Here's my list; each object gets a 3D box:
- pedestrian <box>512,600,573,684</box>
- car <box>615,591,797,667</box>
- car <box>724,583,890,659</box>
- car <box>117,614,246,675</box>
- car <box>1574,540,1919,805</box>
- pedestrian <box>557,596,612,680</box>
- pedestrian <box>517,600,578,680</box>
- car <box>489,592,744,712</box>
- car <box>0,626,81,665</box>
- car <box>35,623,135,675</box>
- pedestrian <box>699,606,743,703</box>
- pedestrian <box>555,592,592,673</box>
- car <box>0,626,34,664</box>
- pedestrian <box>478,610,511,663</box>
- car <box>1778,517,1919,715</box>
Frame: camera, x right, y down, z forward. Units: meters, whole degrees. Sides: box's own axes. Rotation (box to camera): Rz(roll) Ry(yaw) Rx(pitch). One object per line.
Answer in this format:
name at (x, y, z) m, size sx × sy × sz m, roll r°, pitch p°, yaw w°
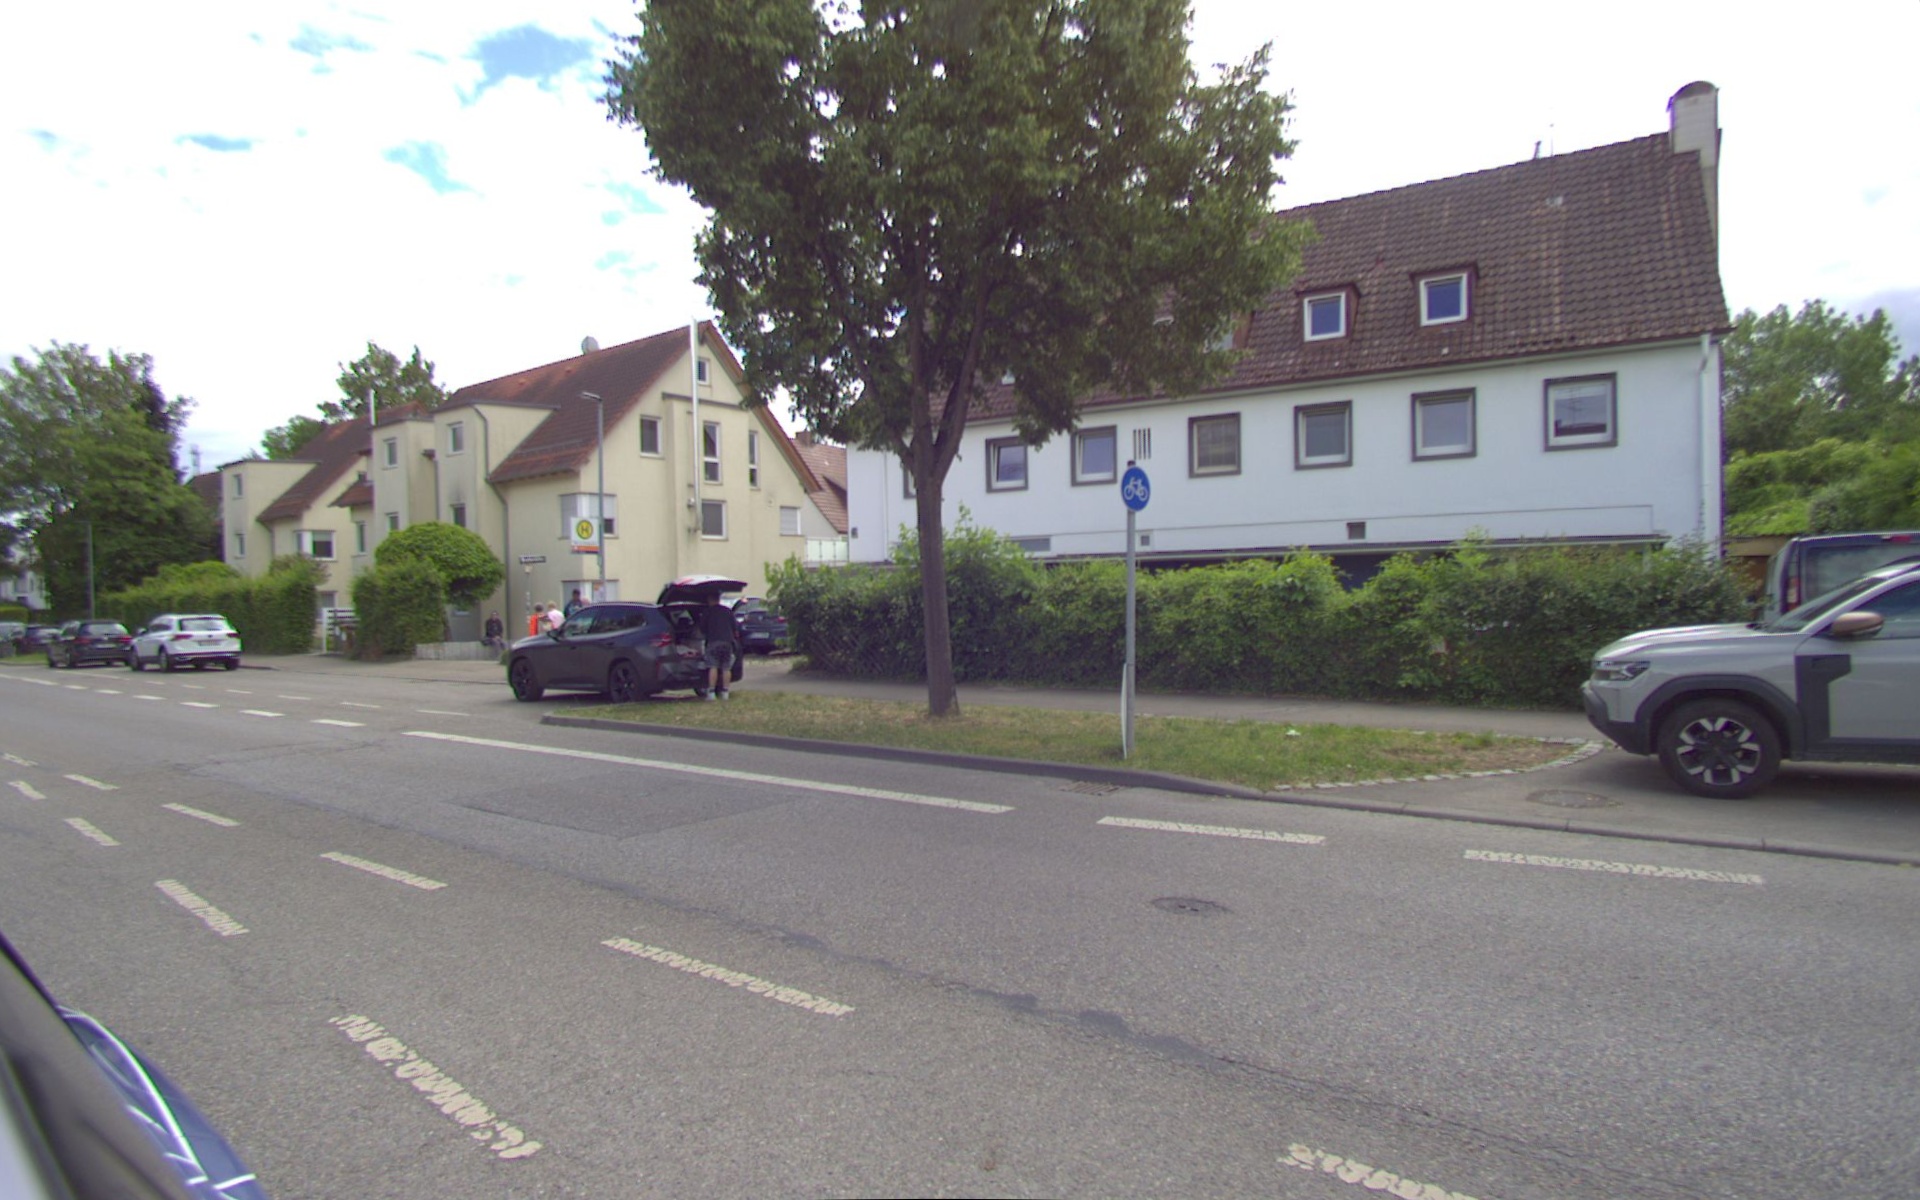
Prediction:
pedestrian at (-8.842, 0.876, 21.447) m, size 0.752 × 1.675 × 0.781 m, roll -2°, pitch 3°, yaw 32°
car at (-6.004, 0.639, 24.538) m, size 2.022 × 1.565 × 4.496 m, roll -2°, pitch 1°, yaw 21°
car at (-3.587, 0.466, 24.414) m, size 1.785 × 1.493 × 3.958 m, roll -2°, pitch 2°, yaw 32°
car at (-23.175, 1.296, 30.071) m, size 4.577 × 1.646 × 1.804 m, roll -2°, pitch -1°, yaw 36°
car at (6.808, 0.431, 6.938) m, size 4.286 × 1.666 × 1.844 m, roll -2°, pitch 0°, yaw 36°
pedestrian at (-7.885, 0.786, 21.250) m, size 0.590 × 1.675 × 0.780 m, roll -1°, pitch 3°, yaw 37°
pedestrian at (-9.187, 0.882, 22.536) m, size 0.878 × 1.675 × 0.781 m, roll -2°, pitch 3°, yaw 32°
car at (-5.837, 0.816, 16.952) m, size 4.555 × 1.738 × 1.709 m, roll -2°, pitch 0°, yaw 36°
car at (-38.615, 1.859, 42.174) m, size 4.880 × 1.496 × 1.976 m, roll -2°, pitch -1°, yaw 36°
car at (-29.229, 1.595, 33.780) m, size 4.265 × 1.563 × 1.661 m, roll -2°, pitch 0°, yaw 37°
pedestrian at (-3.721, 0.843, 15.757) m, size 0.545 × 1.447 × 0.497 m, roll -2°, pitch -2°, yaw -20°
pedestrian at (-8.893, 0.743, 23.271) m, size 0.670 × 1.819 × 0.499 m, roll -2°, pitch 0°, yaw 38°
car at (-43.192, 2.022, 45.515) m, size 3.905 × 1.625 × 1.702 m, roll -2°, pitch -1°, yaw 38°
pedestrian at (-14.205, 1.099, 30.881) m, size 0.836 × 1.572 × 0.663 m, roll -2°, pitch -1°, yaw 44°
car at (10.498, 0.127, 11.315) m, size 1.997 × 1.906 × 3.949 m, roll -2°, pitch 0°, yaw 38°
